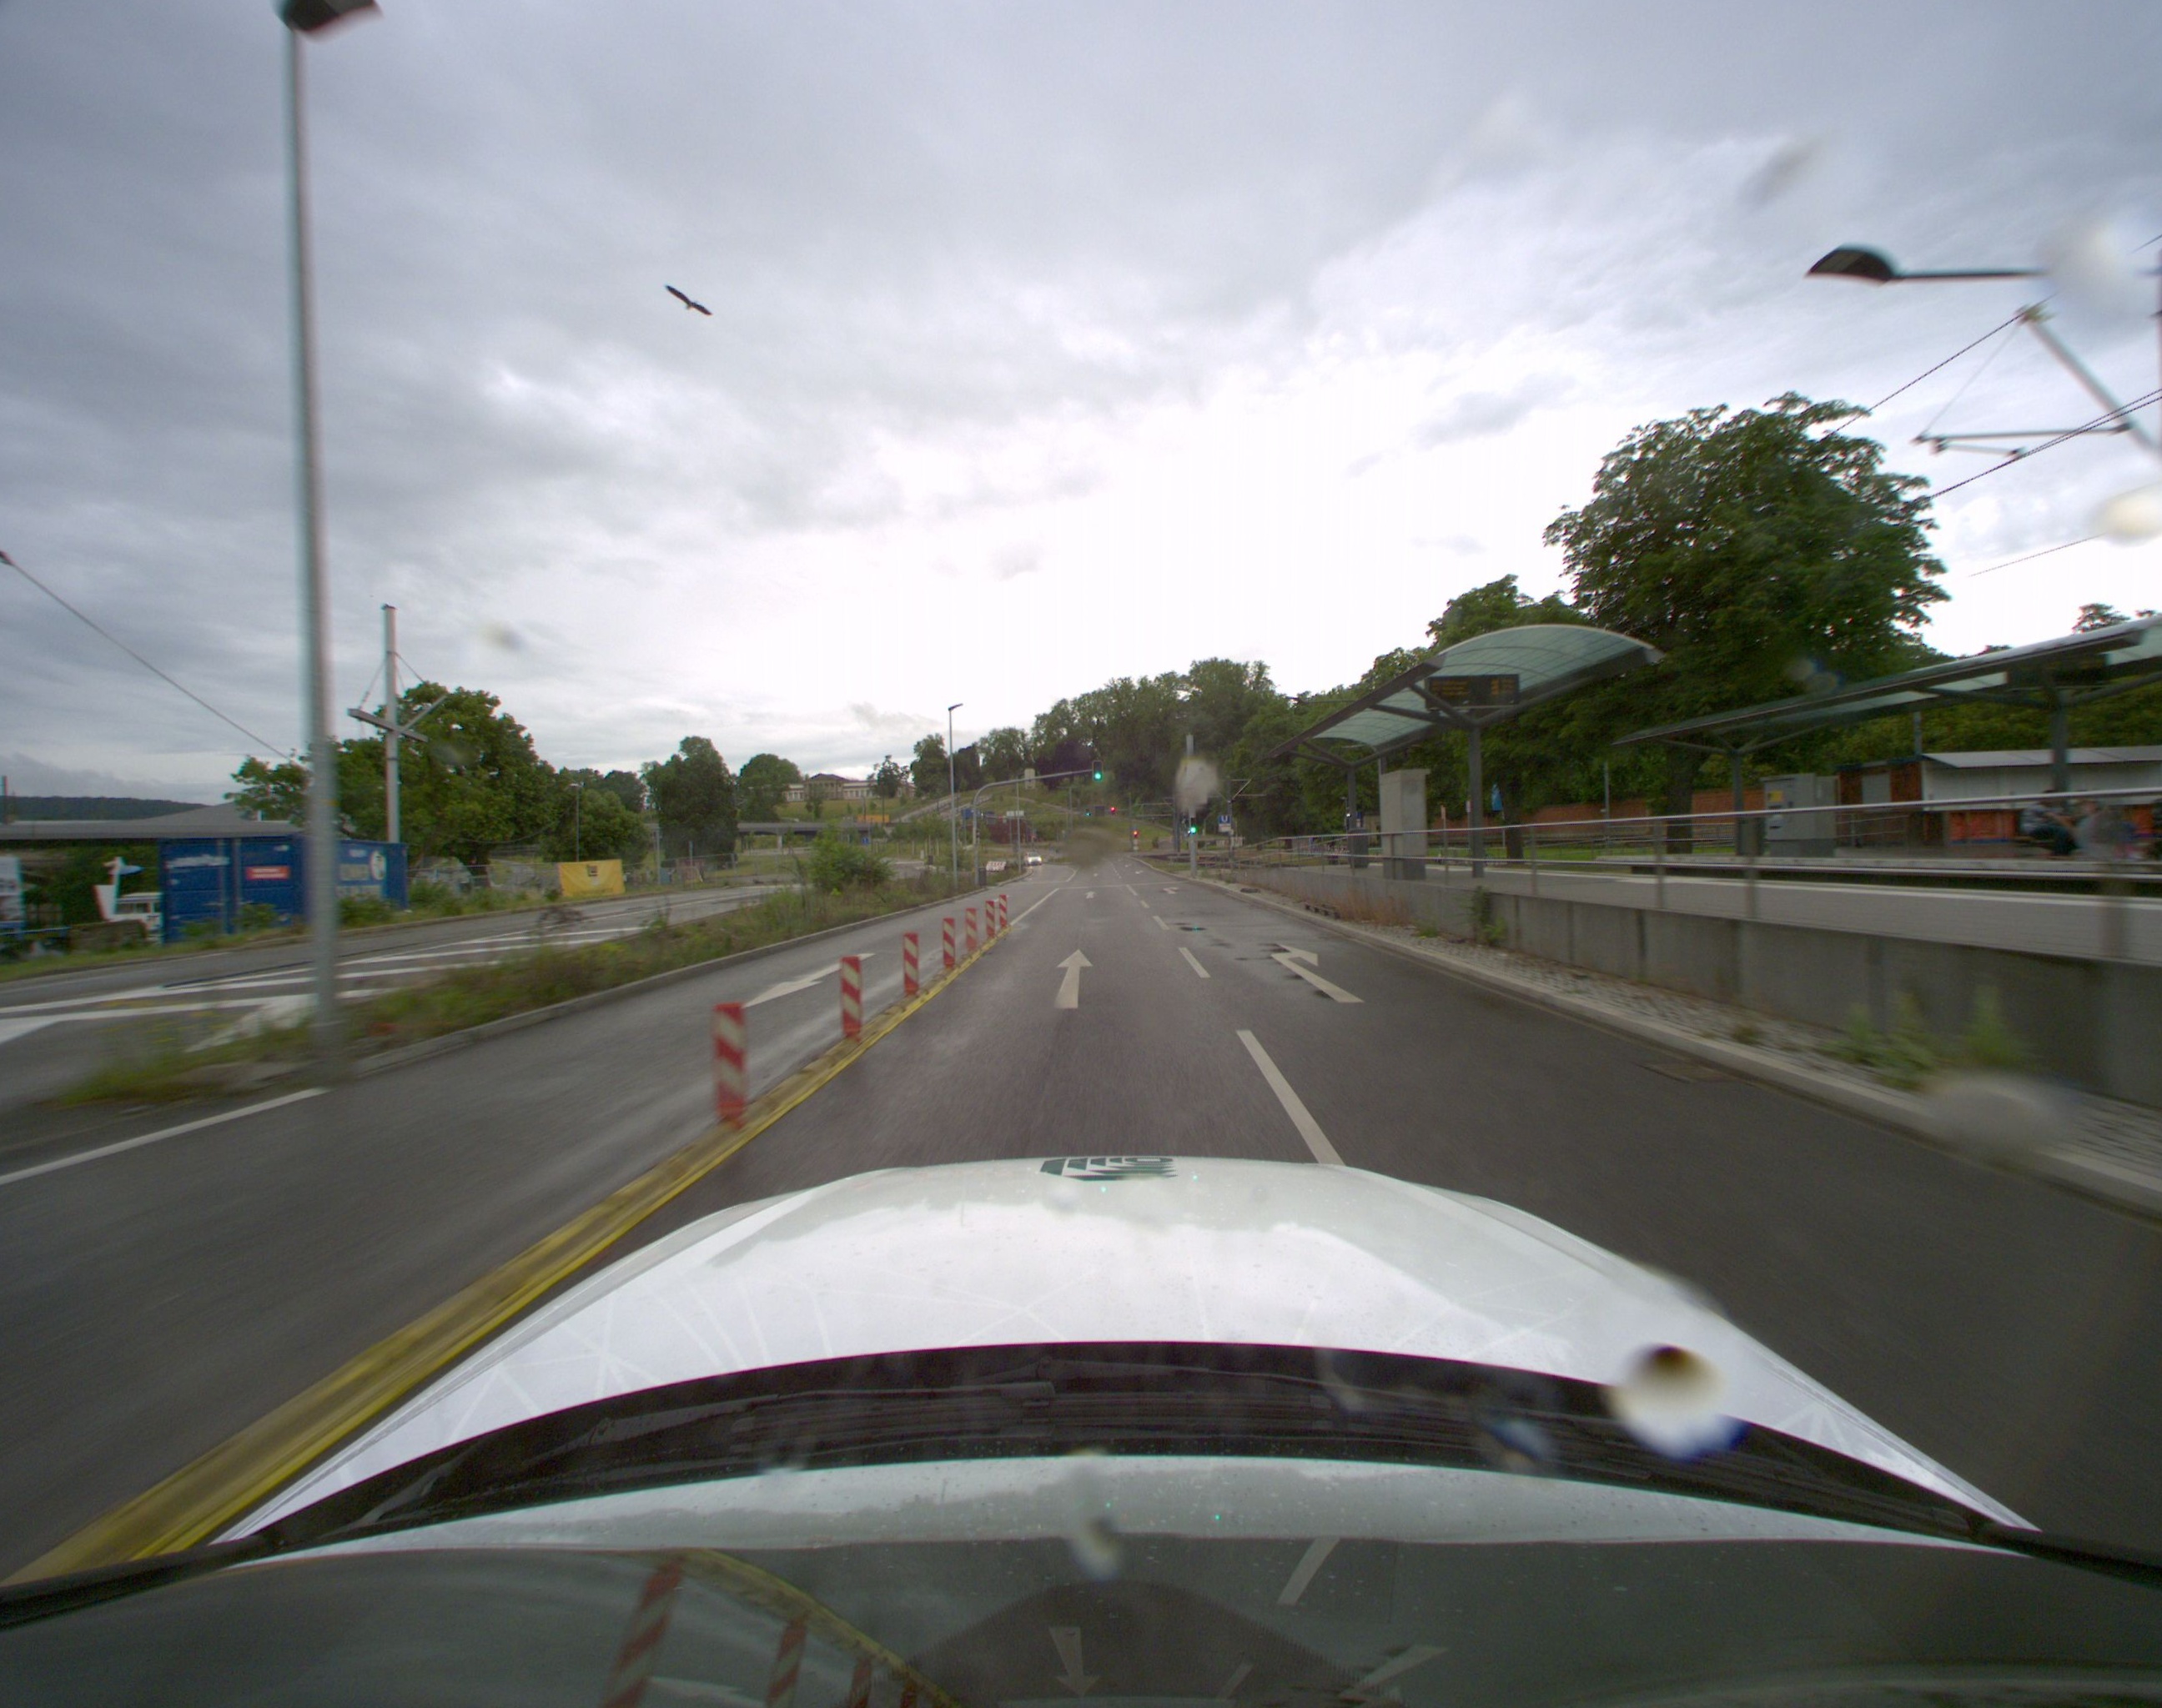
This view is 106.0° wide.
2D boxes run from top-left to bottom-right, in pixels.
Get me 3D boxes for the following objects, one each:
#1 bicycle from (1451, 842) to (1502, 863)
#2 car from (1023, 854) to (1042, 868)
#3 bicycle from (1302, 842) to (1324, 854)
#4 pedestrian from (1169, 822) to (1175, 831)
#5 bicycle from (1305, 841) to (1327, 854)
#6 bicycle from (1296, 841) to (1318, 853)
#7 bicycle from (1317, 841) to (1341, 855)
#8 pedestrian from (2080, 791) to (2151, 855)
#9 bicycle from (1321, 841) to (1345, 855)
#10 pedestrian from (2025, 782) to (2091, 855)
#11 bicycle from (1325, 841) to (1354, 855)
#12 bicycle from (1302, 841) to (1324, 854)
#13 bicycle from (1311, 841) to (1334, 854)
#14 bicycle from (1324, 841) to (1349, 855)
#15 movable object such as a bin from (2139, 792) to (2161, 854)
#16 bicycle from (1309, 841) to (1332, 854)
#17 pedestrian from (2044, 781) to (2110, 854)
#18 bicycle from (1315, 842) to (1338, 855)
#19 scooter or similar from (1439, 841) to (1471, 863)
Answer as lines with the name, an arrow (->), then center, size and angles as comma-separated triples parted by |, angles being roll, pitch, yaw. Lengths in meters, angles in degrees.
bicycle -> 20.458, -0.065, 42.170 | 2.314, 0.957, 0.570 | -3, 0, -1
car -> -5.696, 0.810, 95.153 | 1.588, 1.491, 3.699 | -4, 0, -12
bicycle -> 21.082, -0.569, 74.069 | 1.805, 1.032, 0.652 | -3, 1, -1
pedestrian -> 18.042, -5.462, 161.147 | 0.956, 1.781, 1.121 | 0, 2, -4
bicycle -> 21.174, -0.570, 73.415 | 1.829, 1.032, 0.652 | -3, 1, -2
bicycle -> 21.297, -0.631, 76.752 | 1.805, 1.032, 0.652 | -3, 1, -1
bicycle -> 21.232, -0.512, 69.658 | 1.841, 1.032, 0.652 | -3, 1, -1
pedestrian -> 17.047, -0.497, 13.431 | 0.435, 1.009, 0.551 | -3, 0, 2
bicycle -> 21.311, -0.502, 68.811 | 1.805, 1.032, 0.652 | -3, 1, -1
pedestrian -> 17.004, -0.608, 14.184 | 0.435, 1.226, 0.551 | -3, 0, 2
bicycle -> 21.275, -0.478, 67.039 | 2.216, 1.032, 0.689 | -3, 1, -2
bicycle -> 21.315, -0.597, 74.948 | 1.805, 1.032, 0.652 | -3, 1, -1
bicycle -> 21.141, -0.533, 71.205 | 1.805, 1.034, 0.652 | -3, 1, -2
bicycle -> 21.298, -0.491, 67.924 | 1.805, 1.032, 0.652 | -3, 1, -1
movable object such as a bin -> 17.904, -0.519, 13.261 | 0.435, 1.009, 0.682 | -3, 0, 2
bicycle -> 21.383, -0.566, 72.750 | 1.805, 1.032, 0.652 | -3, 1, -1
pedestrian -> 17.525, -0.632, 14.340 | 0.435, 1.226, 0.551 | -3, 0, 2
bicycle -> 21.260, -0.520, 70.502 | 1.805, 1.032, 0.652 | -3, 1, -1
scooter or similar -> 21.034, -0.124, 45.785 | 1.539, 1.136, 0.431 | -3, 0, -1
